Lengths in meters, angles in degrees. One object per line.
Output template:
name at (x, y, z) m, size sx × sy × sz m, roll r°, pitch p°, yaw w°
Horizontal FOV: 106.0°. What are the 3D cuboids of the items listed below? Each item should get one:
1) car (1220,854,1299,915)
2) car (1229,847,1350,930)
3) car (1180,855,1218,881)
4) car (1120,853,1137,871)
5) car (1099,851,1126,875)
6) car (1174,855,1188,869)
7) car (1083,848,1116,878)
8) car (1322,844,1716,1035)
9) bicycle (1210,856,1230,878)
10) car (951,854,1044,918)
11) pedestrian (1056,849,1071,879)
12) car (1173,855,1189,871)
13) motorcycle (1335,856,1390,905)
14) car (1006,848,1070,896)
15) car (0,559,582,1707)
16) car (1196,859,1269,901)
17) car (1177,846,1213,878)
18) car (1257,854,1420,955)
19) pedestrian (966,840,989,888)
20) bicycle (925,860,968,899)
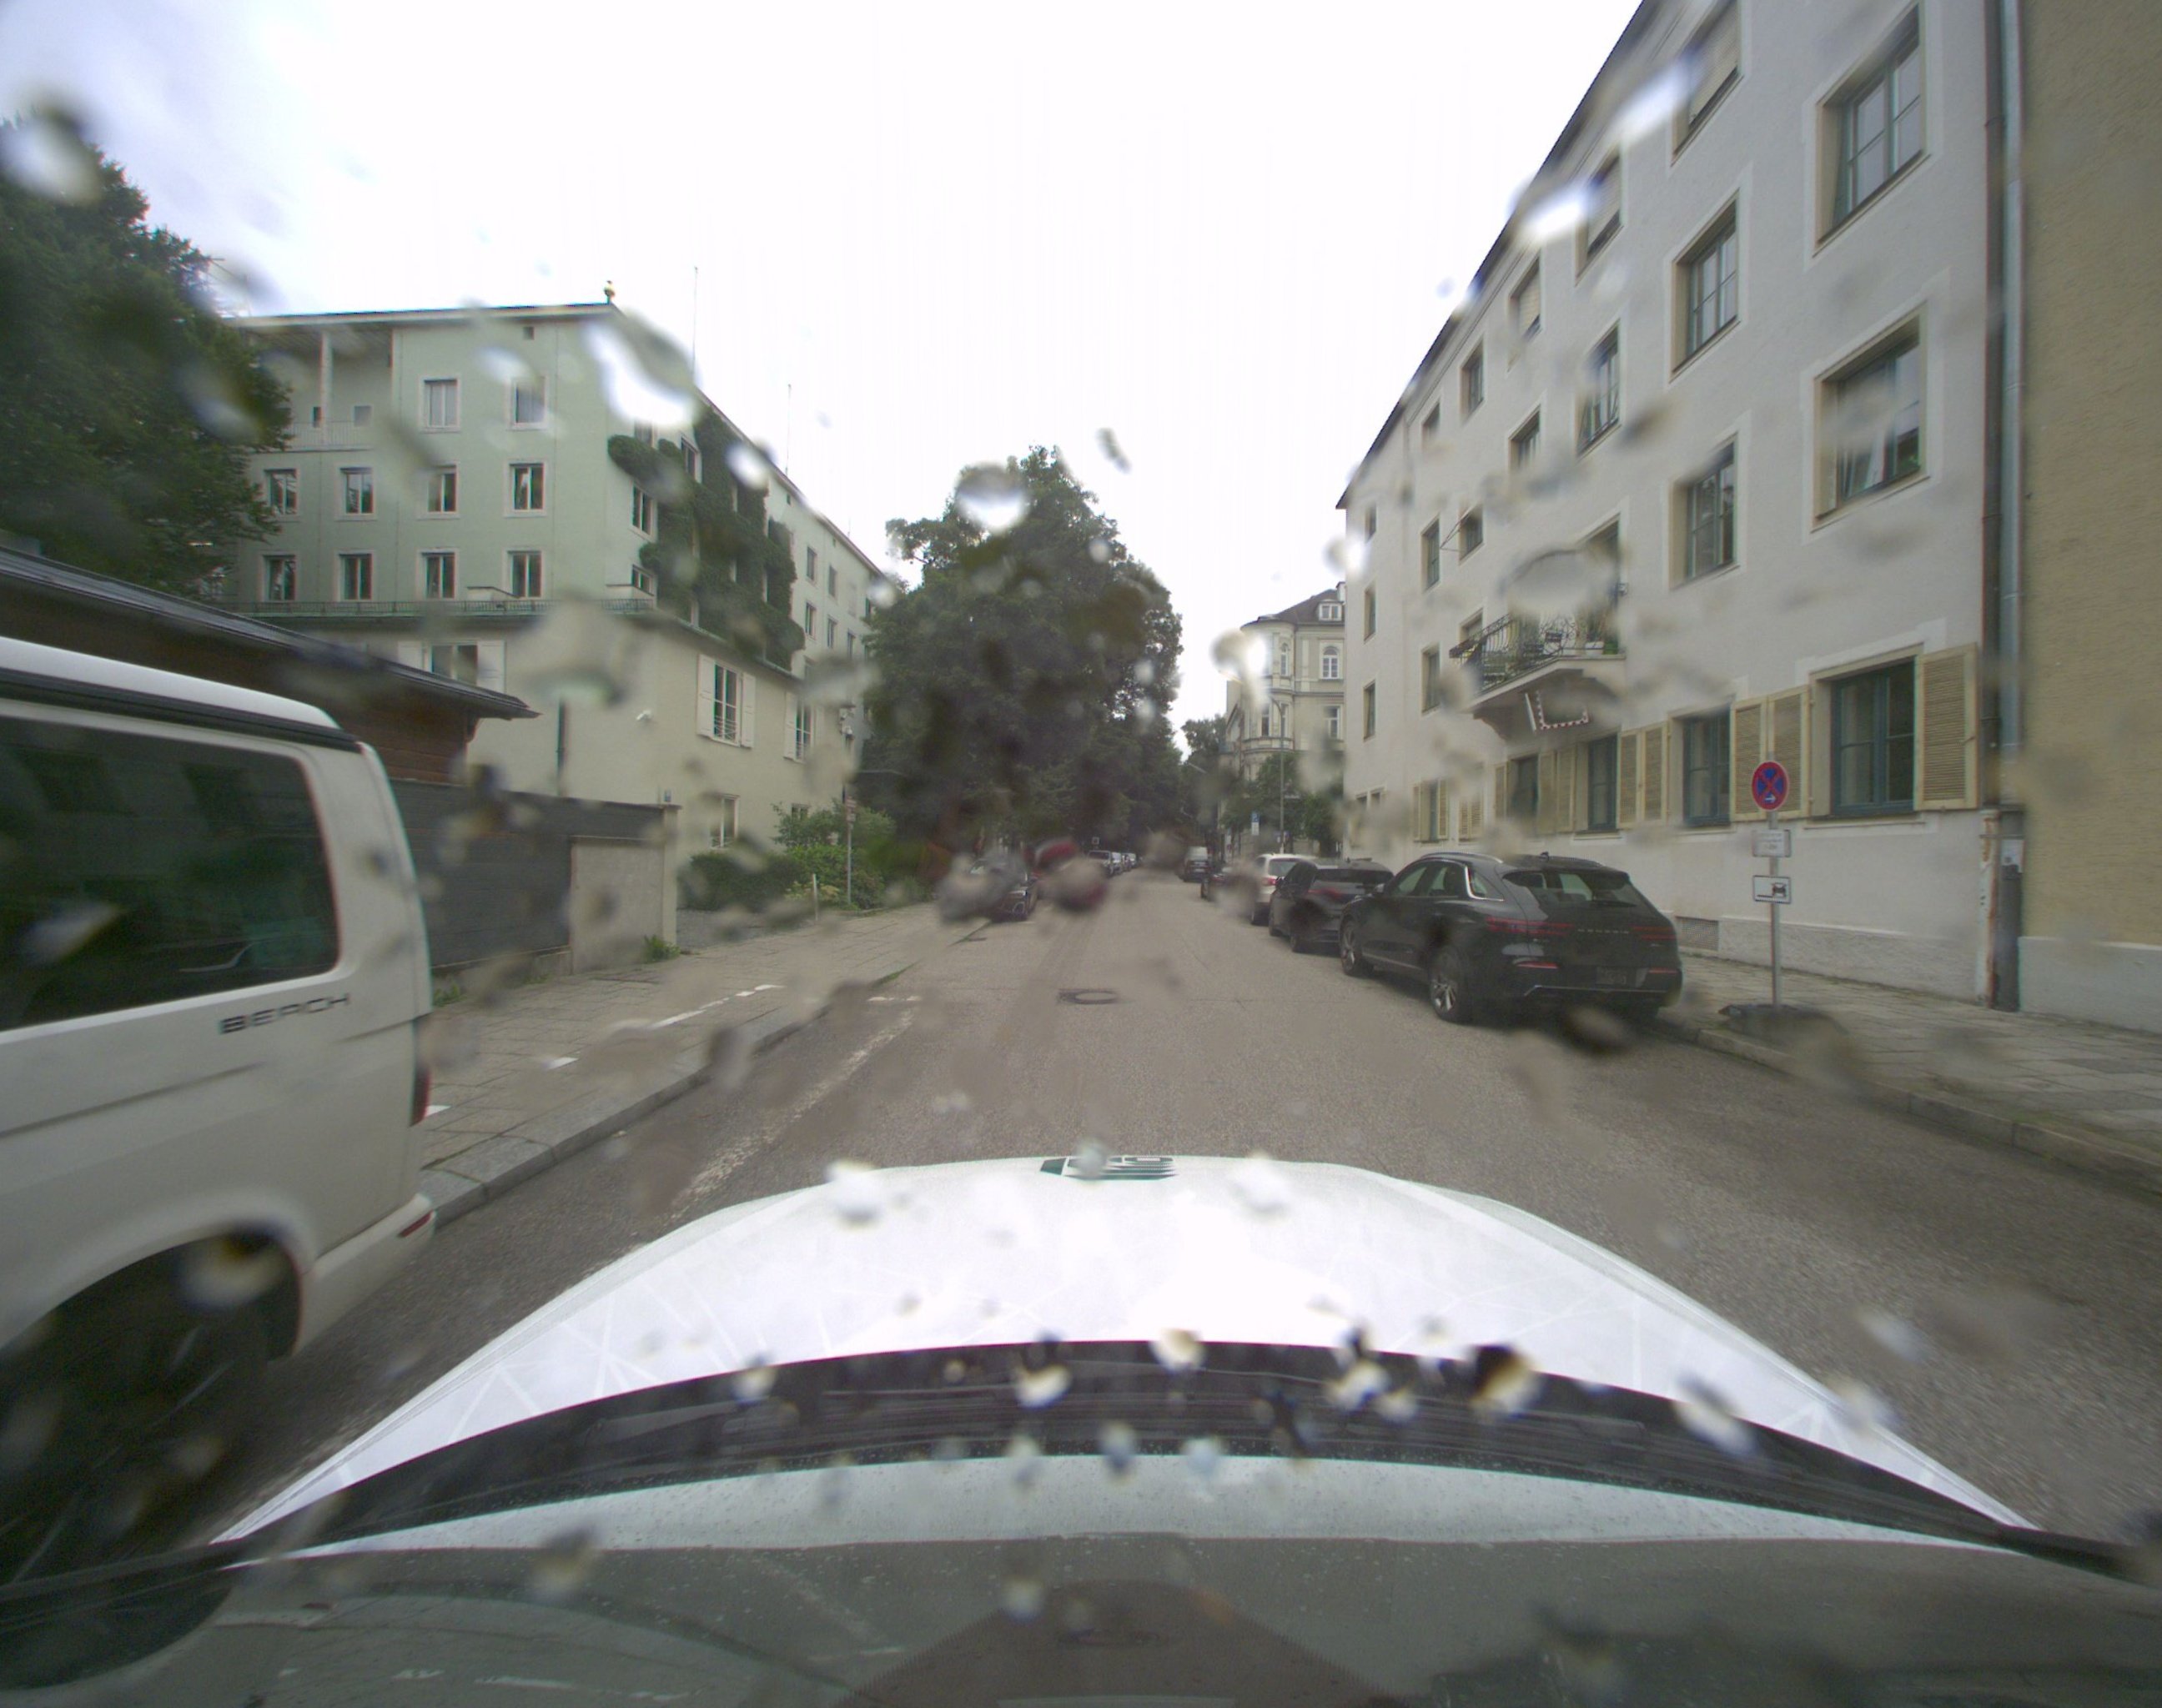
car at (5.276, 0.861, 24.551) m, size 1.762 × 1.546 × 3.716 m, roll 5°, pitch 0°, yaw 5°
car at (4.933, 0.754, 19.936) m, size 1.985 × 1.707 × 4.538 m, roll 3°, pitch 0°, yaw 3°
car at (7.444, 0.868, 51.503) m, size 2.260 × 1.546 × 4.596 m, roll -1°, pitch -1°, yaw 7°
car at (6.098, 1.005, 103.419) m, size 1.993 × 2.186 × 4.701 m, roll 2°, pitch 0°, yaw 5°
car at (2.728, 0.764, 70.532) m, size 2.175 × 1.956 × 5.170 m, roll 2°, pitch 0°, yaw 3°
car at (14.748, 1.114, 120.437) m, size 1.983 × 2.014 × 4.008 m, roll 0°, pitch 0°, yaw 7°
car at (1.390, 0.635, 58.866) m, size 2.238 × 1.956 × 5.457 m, roll 2°, pitch 0°, yaw 3°
car at (4.357, 0.715, 9.203) m, size 1.854 × 1.577 × 4.899 m, roll 0°, pitch 0°, yaw 0°
bicycle at (9.861, 0.896, 57.804) m, size 0.708 × 1.515 × 2.031 m, roll 1°, pitch 0°, yaw -11°
car at (-2.024, 0.742, 21.061) m, size 1.801 × 1.402 × 4.924 m, roll 2°, pitch 0°, yaw 0°
pedestrian at (-0.919, 0.553, 43.463) m, size 0.711 × 1.548 × 0.752 m, roll 3°, pitch -1°, yaw 0°
car at (12.432, 1.089, 101.348) m, size 1.983 × 1.975 × 4.008 m, roll 0°, pitch 0°, yaw 7°
motorcycle at (8.780, 0.800, 25.531) m, size 0.854 × 1.433 × 2.707 m, roll 1°, pitch 0°, yaw 2°
car at (-1.531, 0.647, 30.793) m, size 1.879 × 1.590 × 4.531 m, roll 2°, pitch 0°, yaw 3°
car at (-2.799, 0.469, 0.286) m, size 1.960 × 1.990 × 5.151 m, roll 2°, pitch 0°, yaw 0°
car at (5.373, 0.876, 29.433) m, size 1.992 × 1.319 × 4.598 m, roll -2°, pitch 0°, yaw 3°
car at (8.140, 0.562, 58.448) m, size 2.194 × 2.208 × 4.860 m, roll -1°, pitch -1°, yaw 4°
car at (4.403, 0.779, 14.647) m, size 1.830 × 1.531 × 4.420 m, roll 0°, pitch 0°, yaw 4°
pedestrian at (-4.081, 0.407, 32.232) m, size 0.709 × 1.852 × 0.797 m, roll 2°, pitch -1°, yaw 3°
bicycle at (-4.063, 0.761, 24.809) m, size 0.645 × 1.130 × 2.053 m, roll 0°, pitch 0°, yaw 10°
